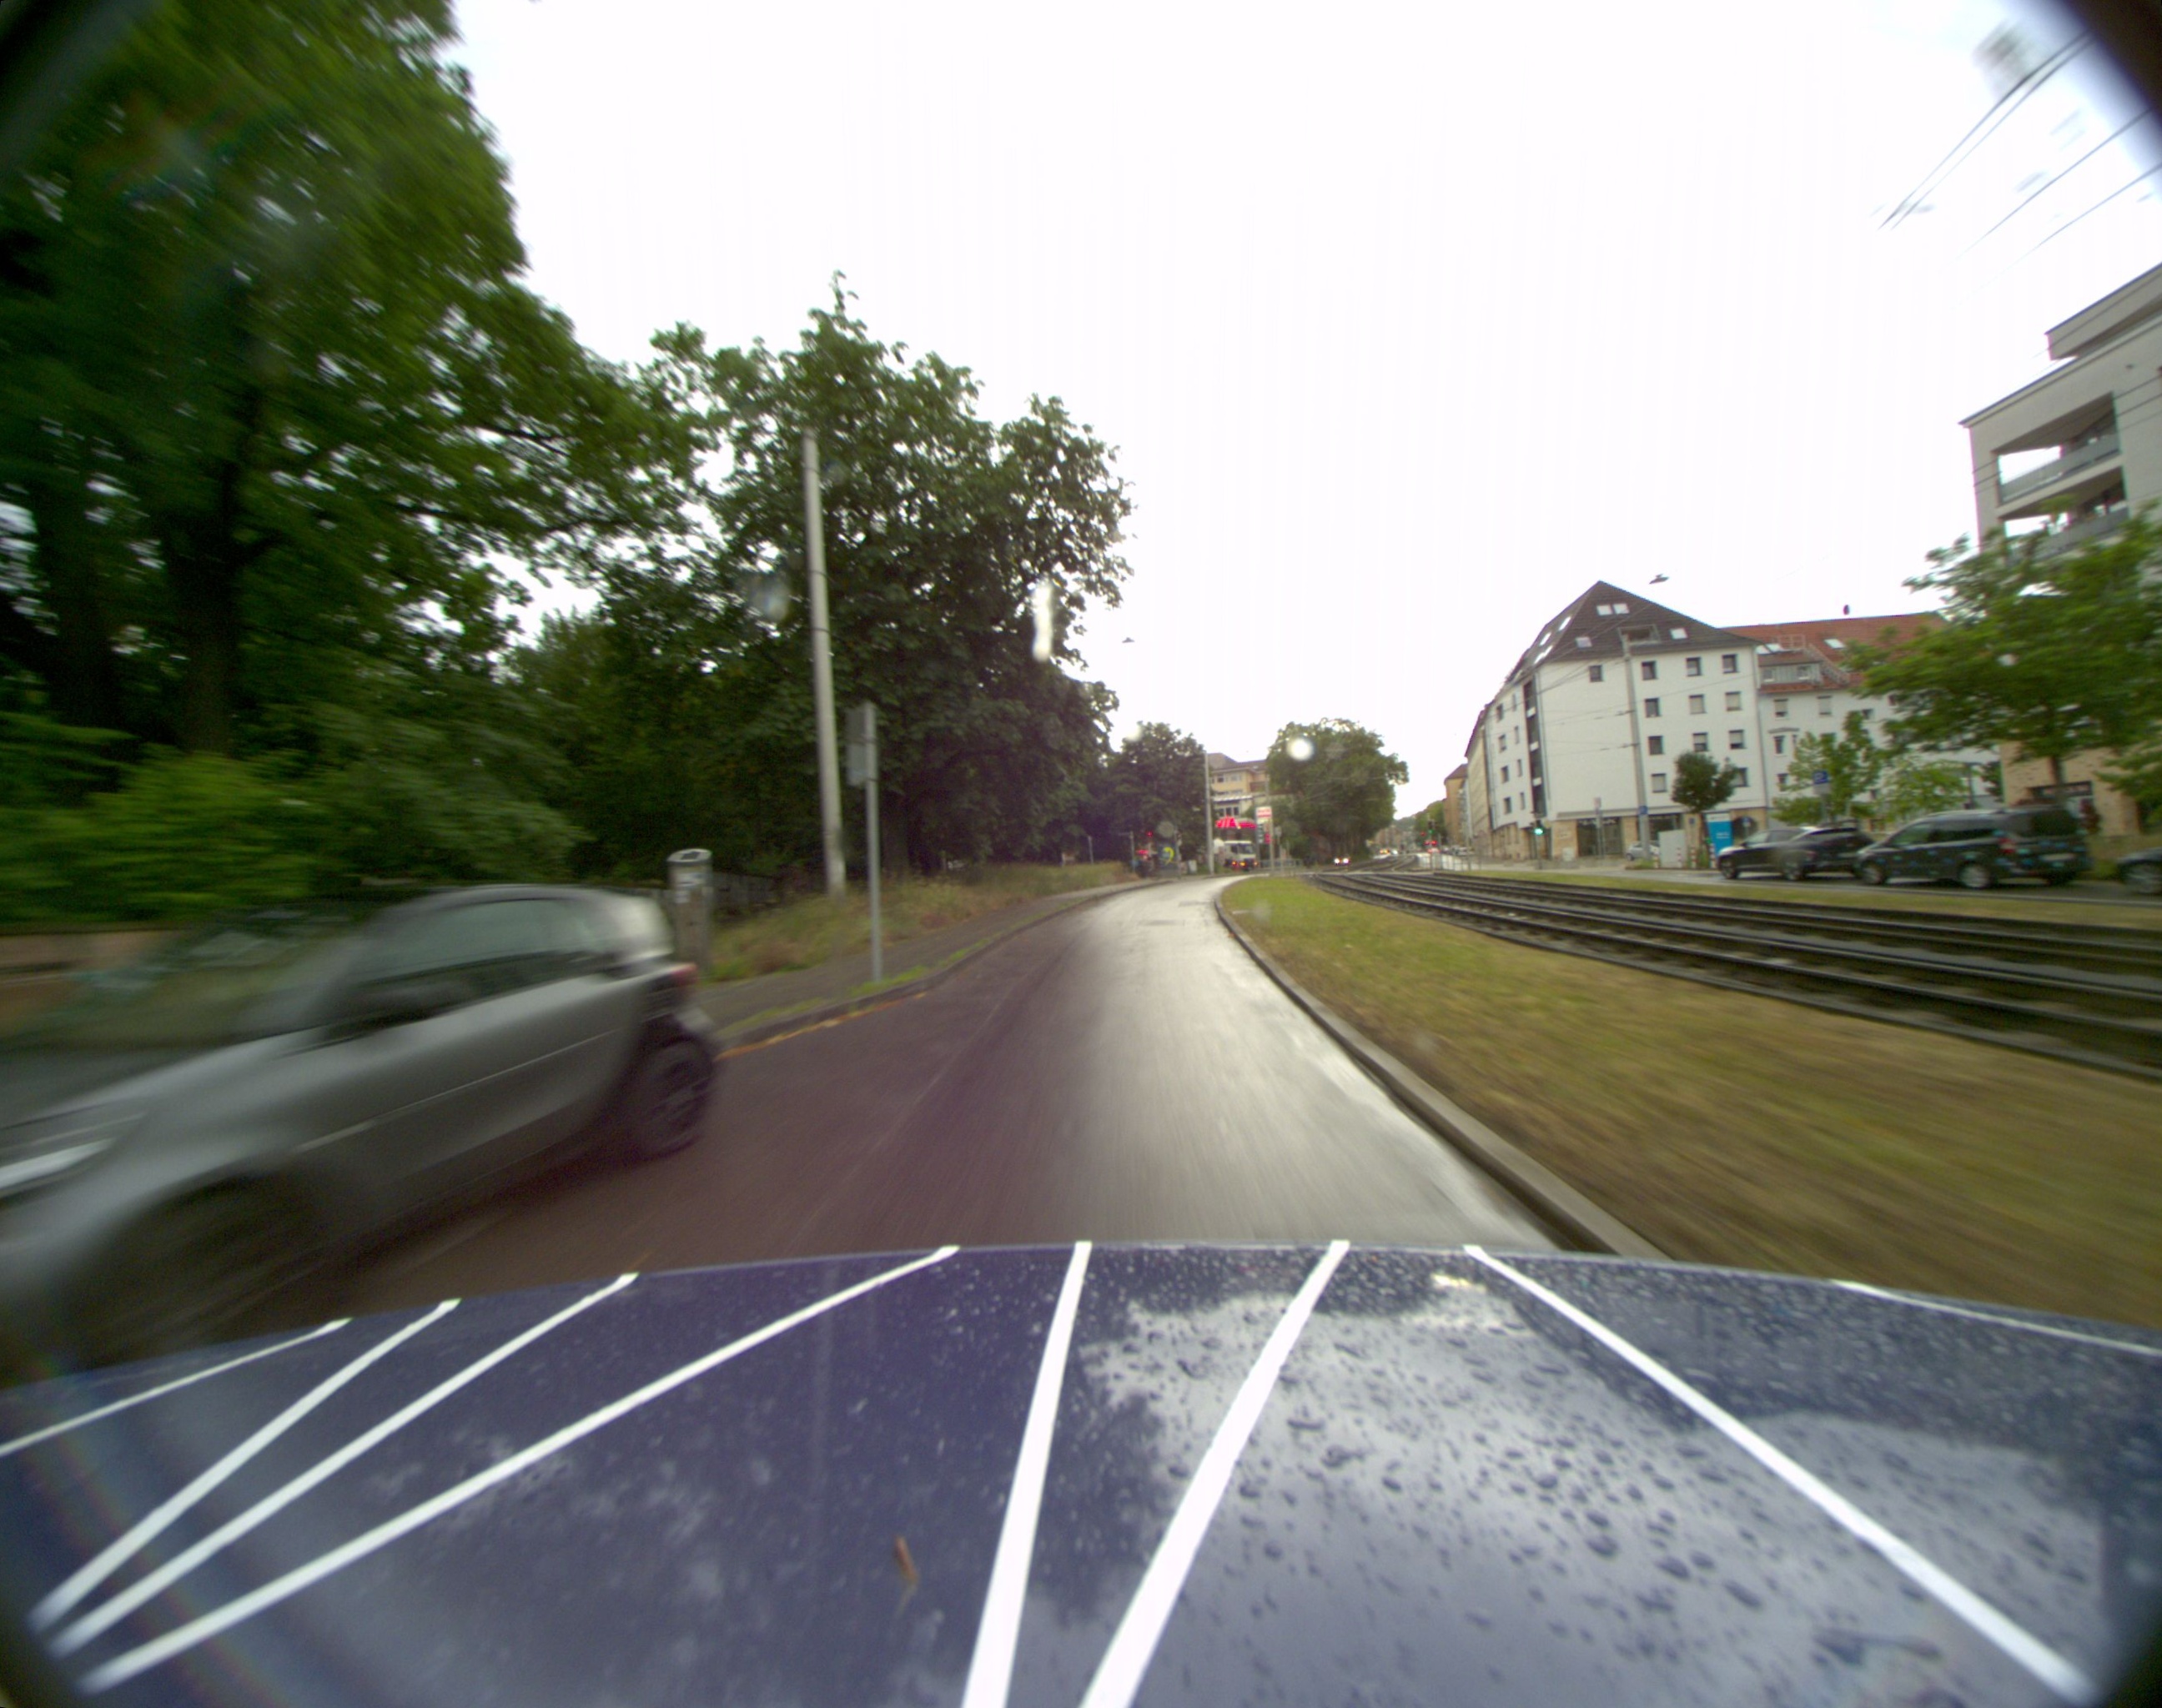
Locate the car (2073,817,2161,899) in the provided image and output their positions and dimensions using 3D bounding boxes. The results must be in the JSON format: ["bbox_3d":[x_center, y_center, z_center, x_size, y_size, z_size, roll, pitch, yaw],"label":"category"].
[{"bbox_3d":[20.185,0.057,12.797,1.553,1.439,4.402,-4,0,8],"label":"car"}]

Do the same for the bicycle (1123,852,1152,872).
[{"bbox_3d":[3.463,0.497,46.414,1.710,1.133,0.626,-3,0,4],"label":"bicycle"}]

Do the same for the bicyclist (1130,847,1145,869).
[{"bbox_3d":[3.471,0.249,46.625,0.799,1.287,0.595,-3,1,3],"label":"bicyclist"}]

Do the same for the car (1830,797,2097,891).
[{"bbox_3d":[20.592,-0.227,18.072,1.584,1.848,4.335,-5,0,8],"label":"car"}]

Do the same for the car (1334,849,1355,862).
[{"bbox_3d":[33.734,0.190,97.071,1.886,1.482,3.856,-2,1,28],"label":"car"}]

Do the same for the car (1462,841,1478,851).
[{"bbox_3d":[63.503,-1.296,124.087,2.027,1.533,4.006,-3,0,22],"label":"car"}]

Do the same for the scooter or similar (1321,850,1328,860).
[{"bbox_3d":[34.034,0.123,106.117,0.399,1.186,1.365,-2,3,39],"label":"scooter or similar"}]

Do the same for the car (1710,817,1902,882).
[{"bbox_3d":[21.475,-0.144,22.800,1.997,1.595,4.217,-6,0,8],"label":"car"}]

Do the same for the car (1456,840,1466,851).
[{"bbox_3d":[71.947,-1.650,143.986,1.554,1.871,4.047,-3,0,25],"label":"car"}]

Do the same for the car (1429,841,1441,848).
[{"bbox_3d":[84.878,-2.192,182.301,1.689,1.527,5.023,-3,0,14],"label":"car"}]

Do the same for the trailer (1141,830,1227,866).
[{"bbox_3d":[10.772,-0.539,80.436,2.818,3.376,9.812,-3,0,-36],"label":"trailer"}]

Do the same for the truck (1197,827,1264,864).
[{"bbox_3d":[14.710,-0.808,75.150,2.842,3.379,6.110,-2,0,-36],"label":"truck"}]

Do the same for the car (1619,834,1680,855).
[{"bbox_3d":[41.478,-0.692,55.539,1.599,1.412,3.917,-3,0,1],"label":"car"}]

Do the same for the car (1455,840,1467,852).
[{"bbox_3d":[67.356,-1.450,134.732,1.726,1.948,4.306,-3,0,24],"label":"car"}]

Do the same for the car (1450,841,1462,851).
[{"bbox_3d":[73.990,-1.548,149.946,1.724,1.798,3.597,-3,0,22],"label":"car"}]

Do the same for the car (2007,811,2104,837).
[{"bbox_3d":[69.406,-2.122,54.234,1.938,1.608,4.002,-2,0,5],"label":"car"}]

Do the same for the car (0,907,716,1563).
[{"bbox_3d":[-3.222,1.065,3.209,1.600,1.457,2.723,-2,0,15],"label":"car"}]

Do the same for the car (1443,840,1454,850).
[{"bbox_3d":[83.483,-2.047,172.653,2.027,2.002,4.233,-3,0,22],"label":"car"}]
